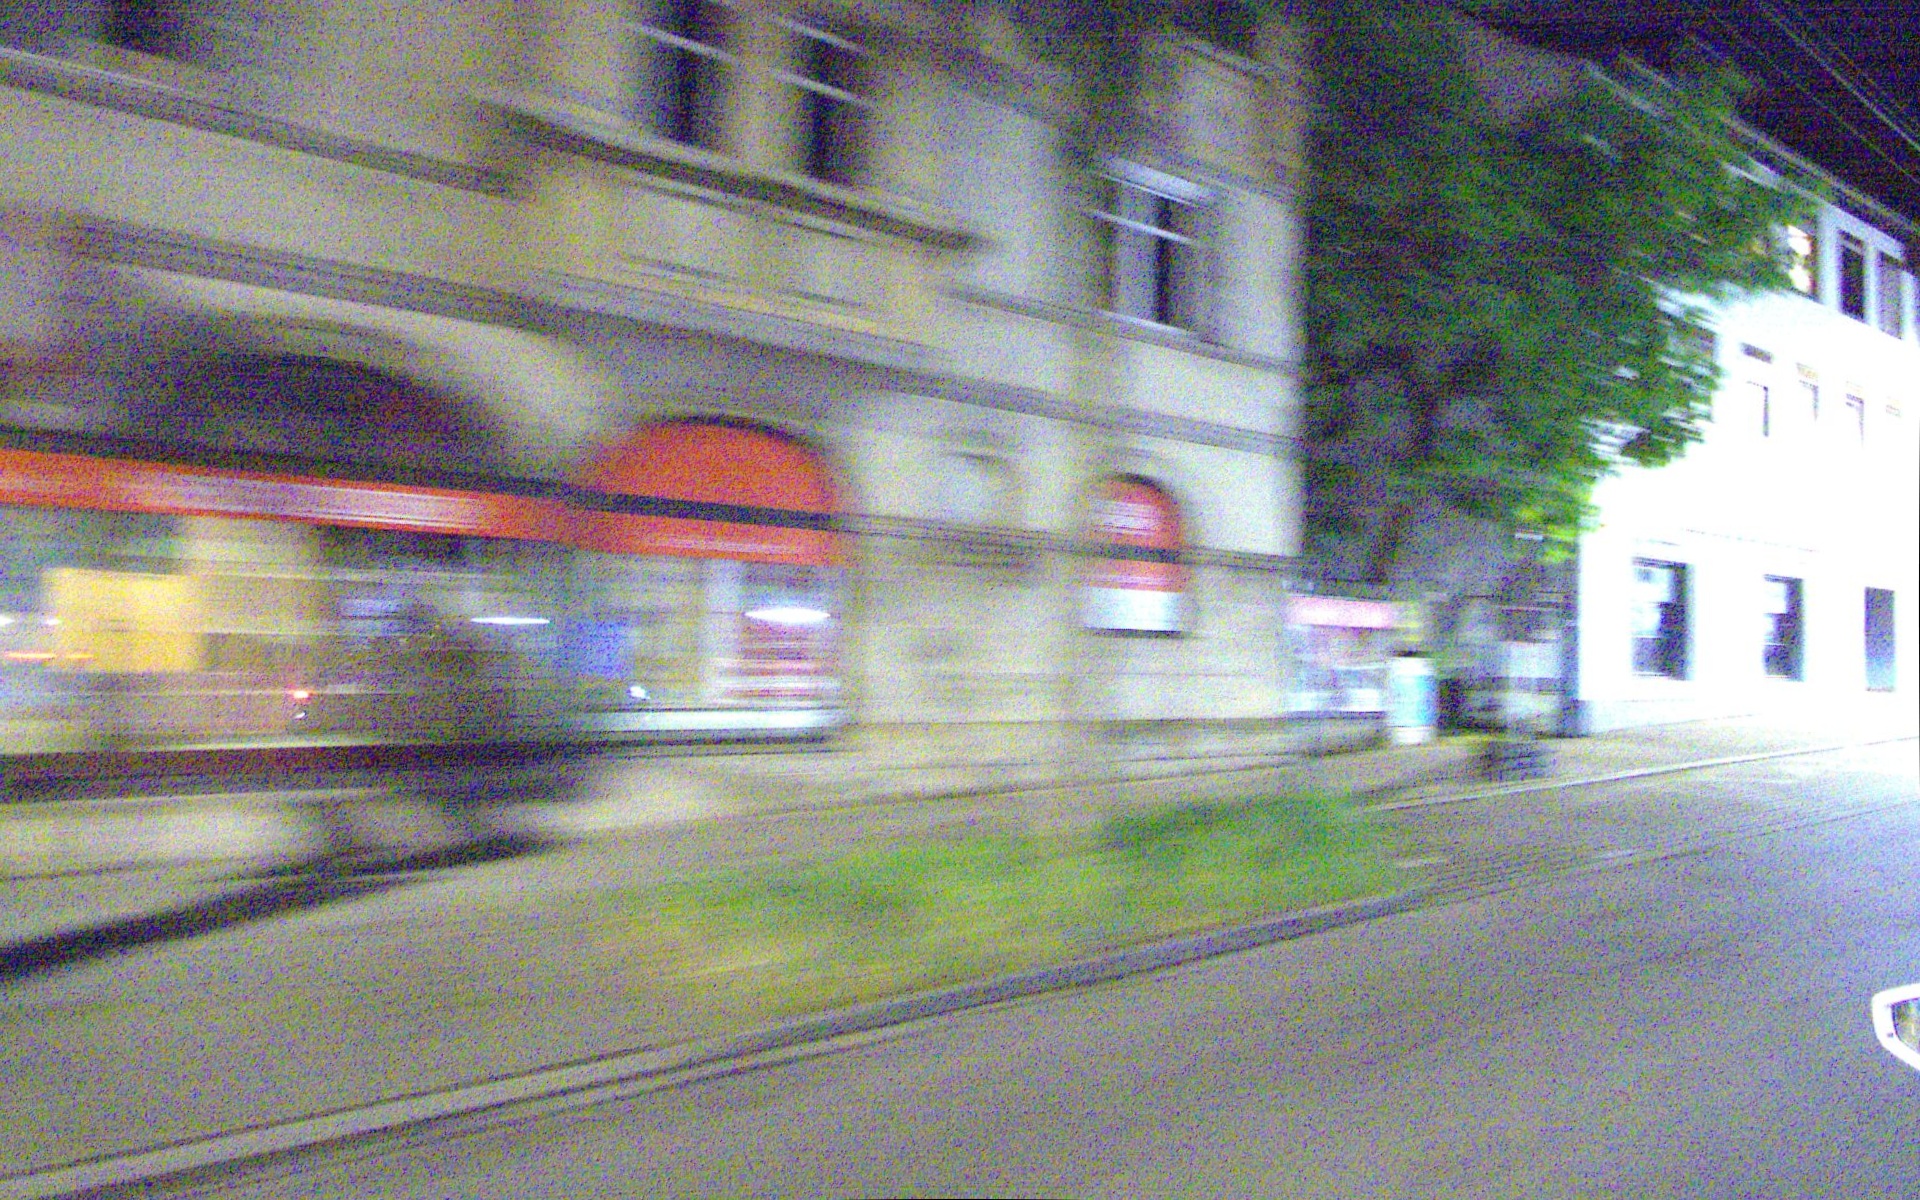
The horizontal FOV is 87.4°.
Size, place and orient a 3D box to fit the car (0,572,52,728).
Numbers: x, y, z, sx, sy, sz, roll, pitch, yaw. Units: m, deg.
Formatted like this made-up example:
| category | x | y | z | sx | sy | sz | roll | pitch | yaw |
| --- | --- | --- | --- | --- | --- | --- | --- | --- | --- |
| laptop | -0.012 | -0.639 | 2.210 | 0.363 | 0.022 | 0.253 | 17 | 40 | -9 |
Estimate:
| category | x | y | z | sx | sy | sz | roll | pitch | yaw |
| --- | --- | --- | --- | --- | --- | --- | --- | --- | --- |
| car | -16.509 | 0.746 | 15.572 | 2.221 | 2.577 | 5.818 | 5 | -3 | -30 |
